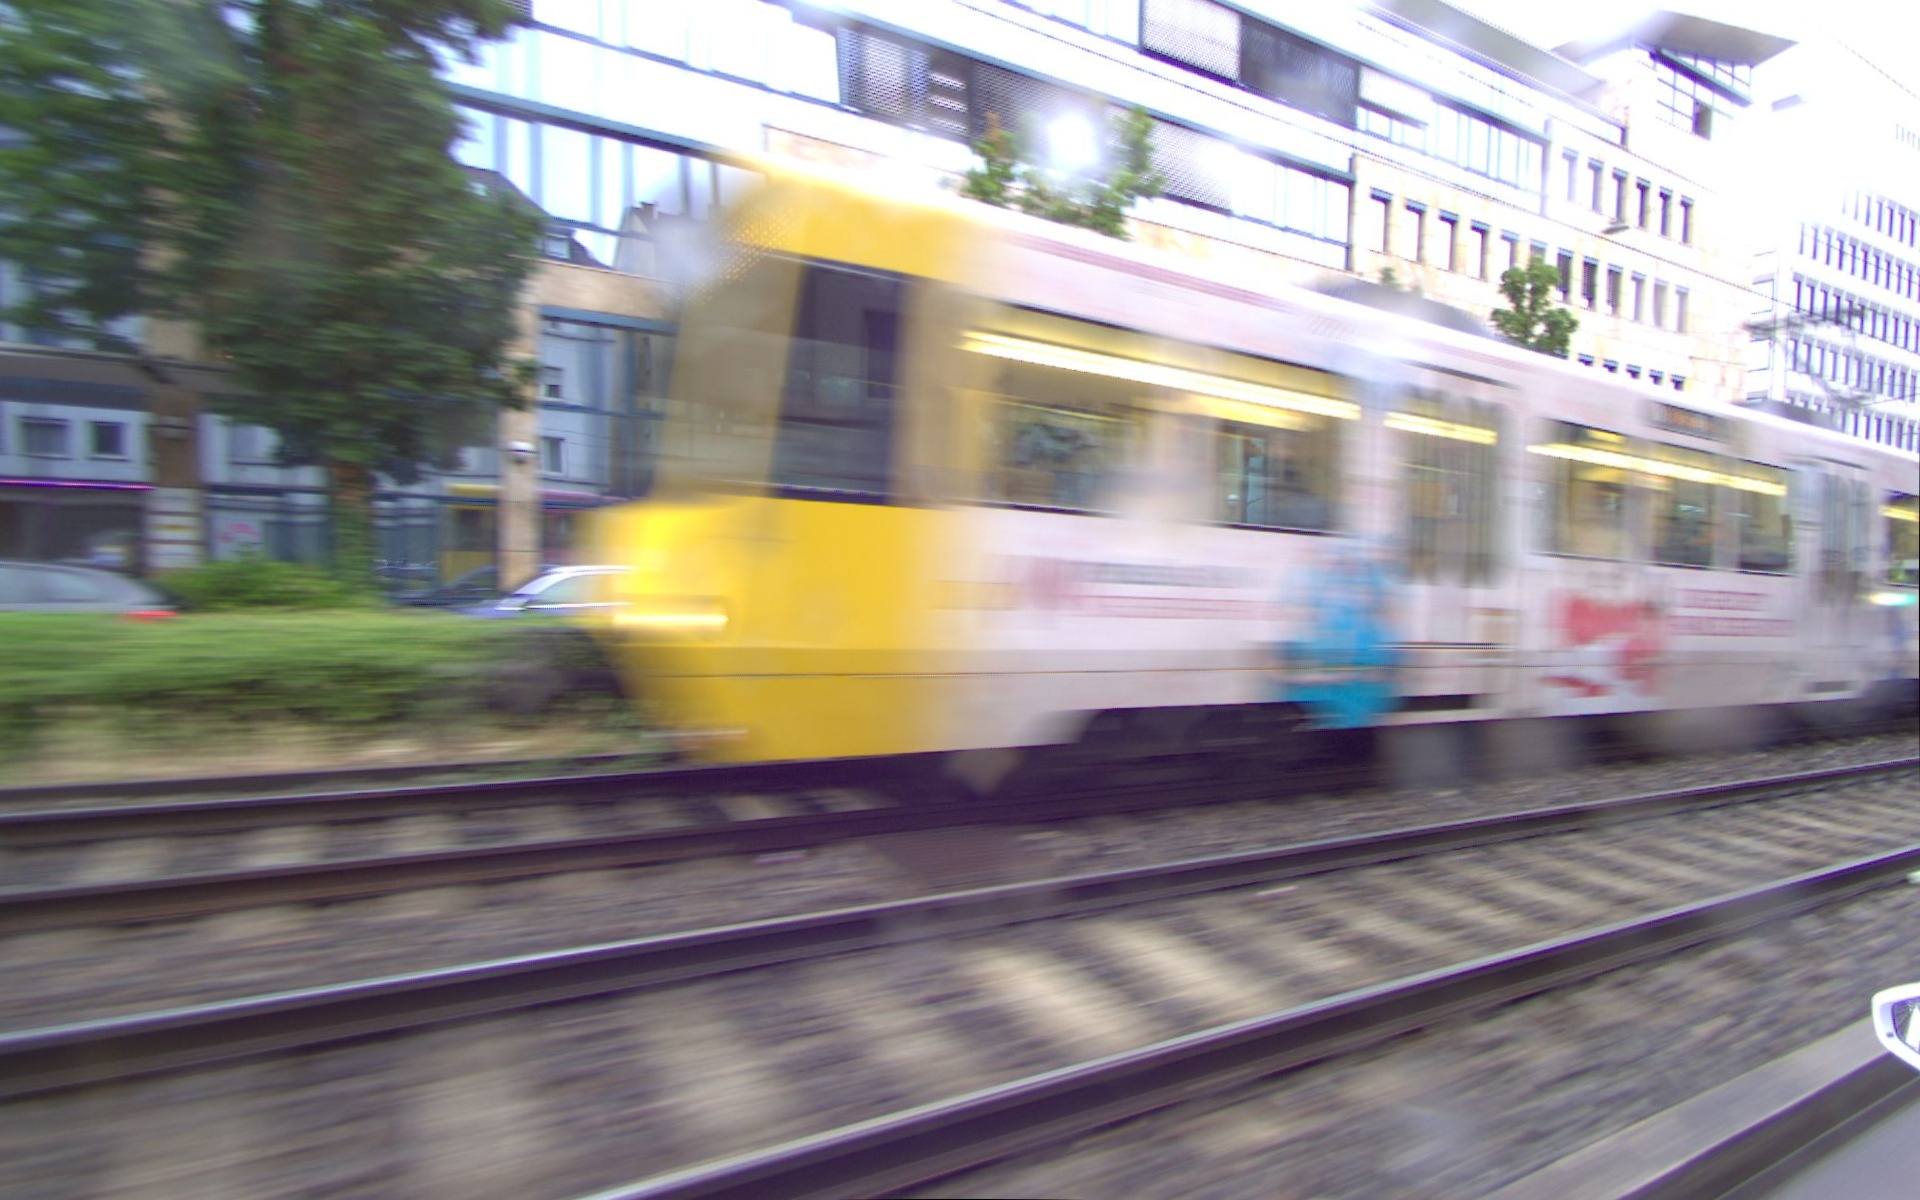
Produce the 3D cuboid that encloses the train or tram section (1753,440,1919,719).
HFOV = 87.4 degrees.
[{"bbox_3d":[21.796,-0.076,20.014,18.550,4.104,2.887,2,0,-31],"label":"train or tram section"}]

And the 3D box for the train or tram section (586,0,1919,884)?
[{"bbox_3d":[5.924,-0.532,10.525,18.198,4.104,2.887,2,0,-31],"label":"train or tram section"}]

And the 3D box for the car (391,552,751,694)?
[{"bbox_3d":[-5.088,0.287,13.325,4.242,1.623,1.641,1,1,-30],"label":"car"}]

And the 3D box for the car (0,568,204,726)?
[{"bbox_3d":[-10.623,0.434,10.139,4.567,1.561,1.641,1,1,-30],"label":"car"}]
